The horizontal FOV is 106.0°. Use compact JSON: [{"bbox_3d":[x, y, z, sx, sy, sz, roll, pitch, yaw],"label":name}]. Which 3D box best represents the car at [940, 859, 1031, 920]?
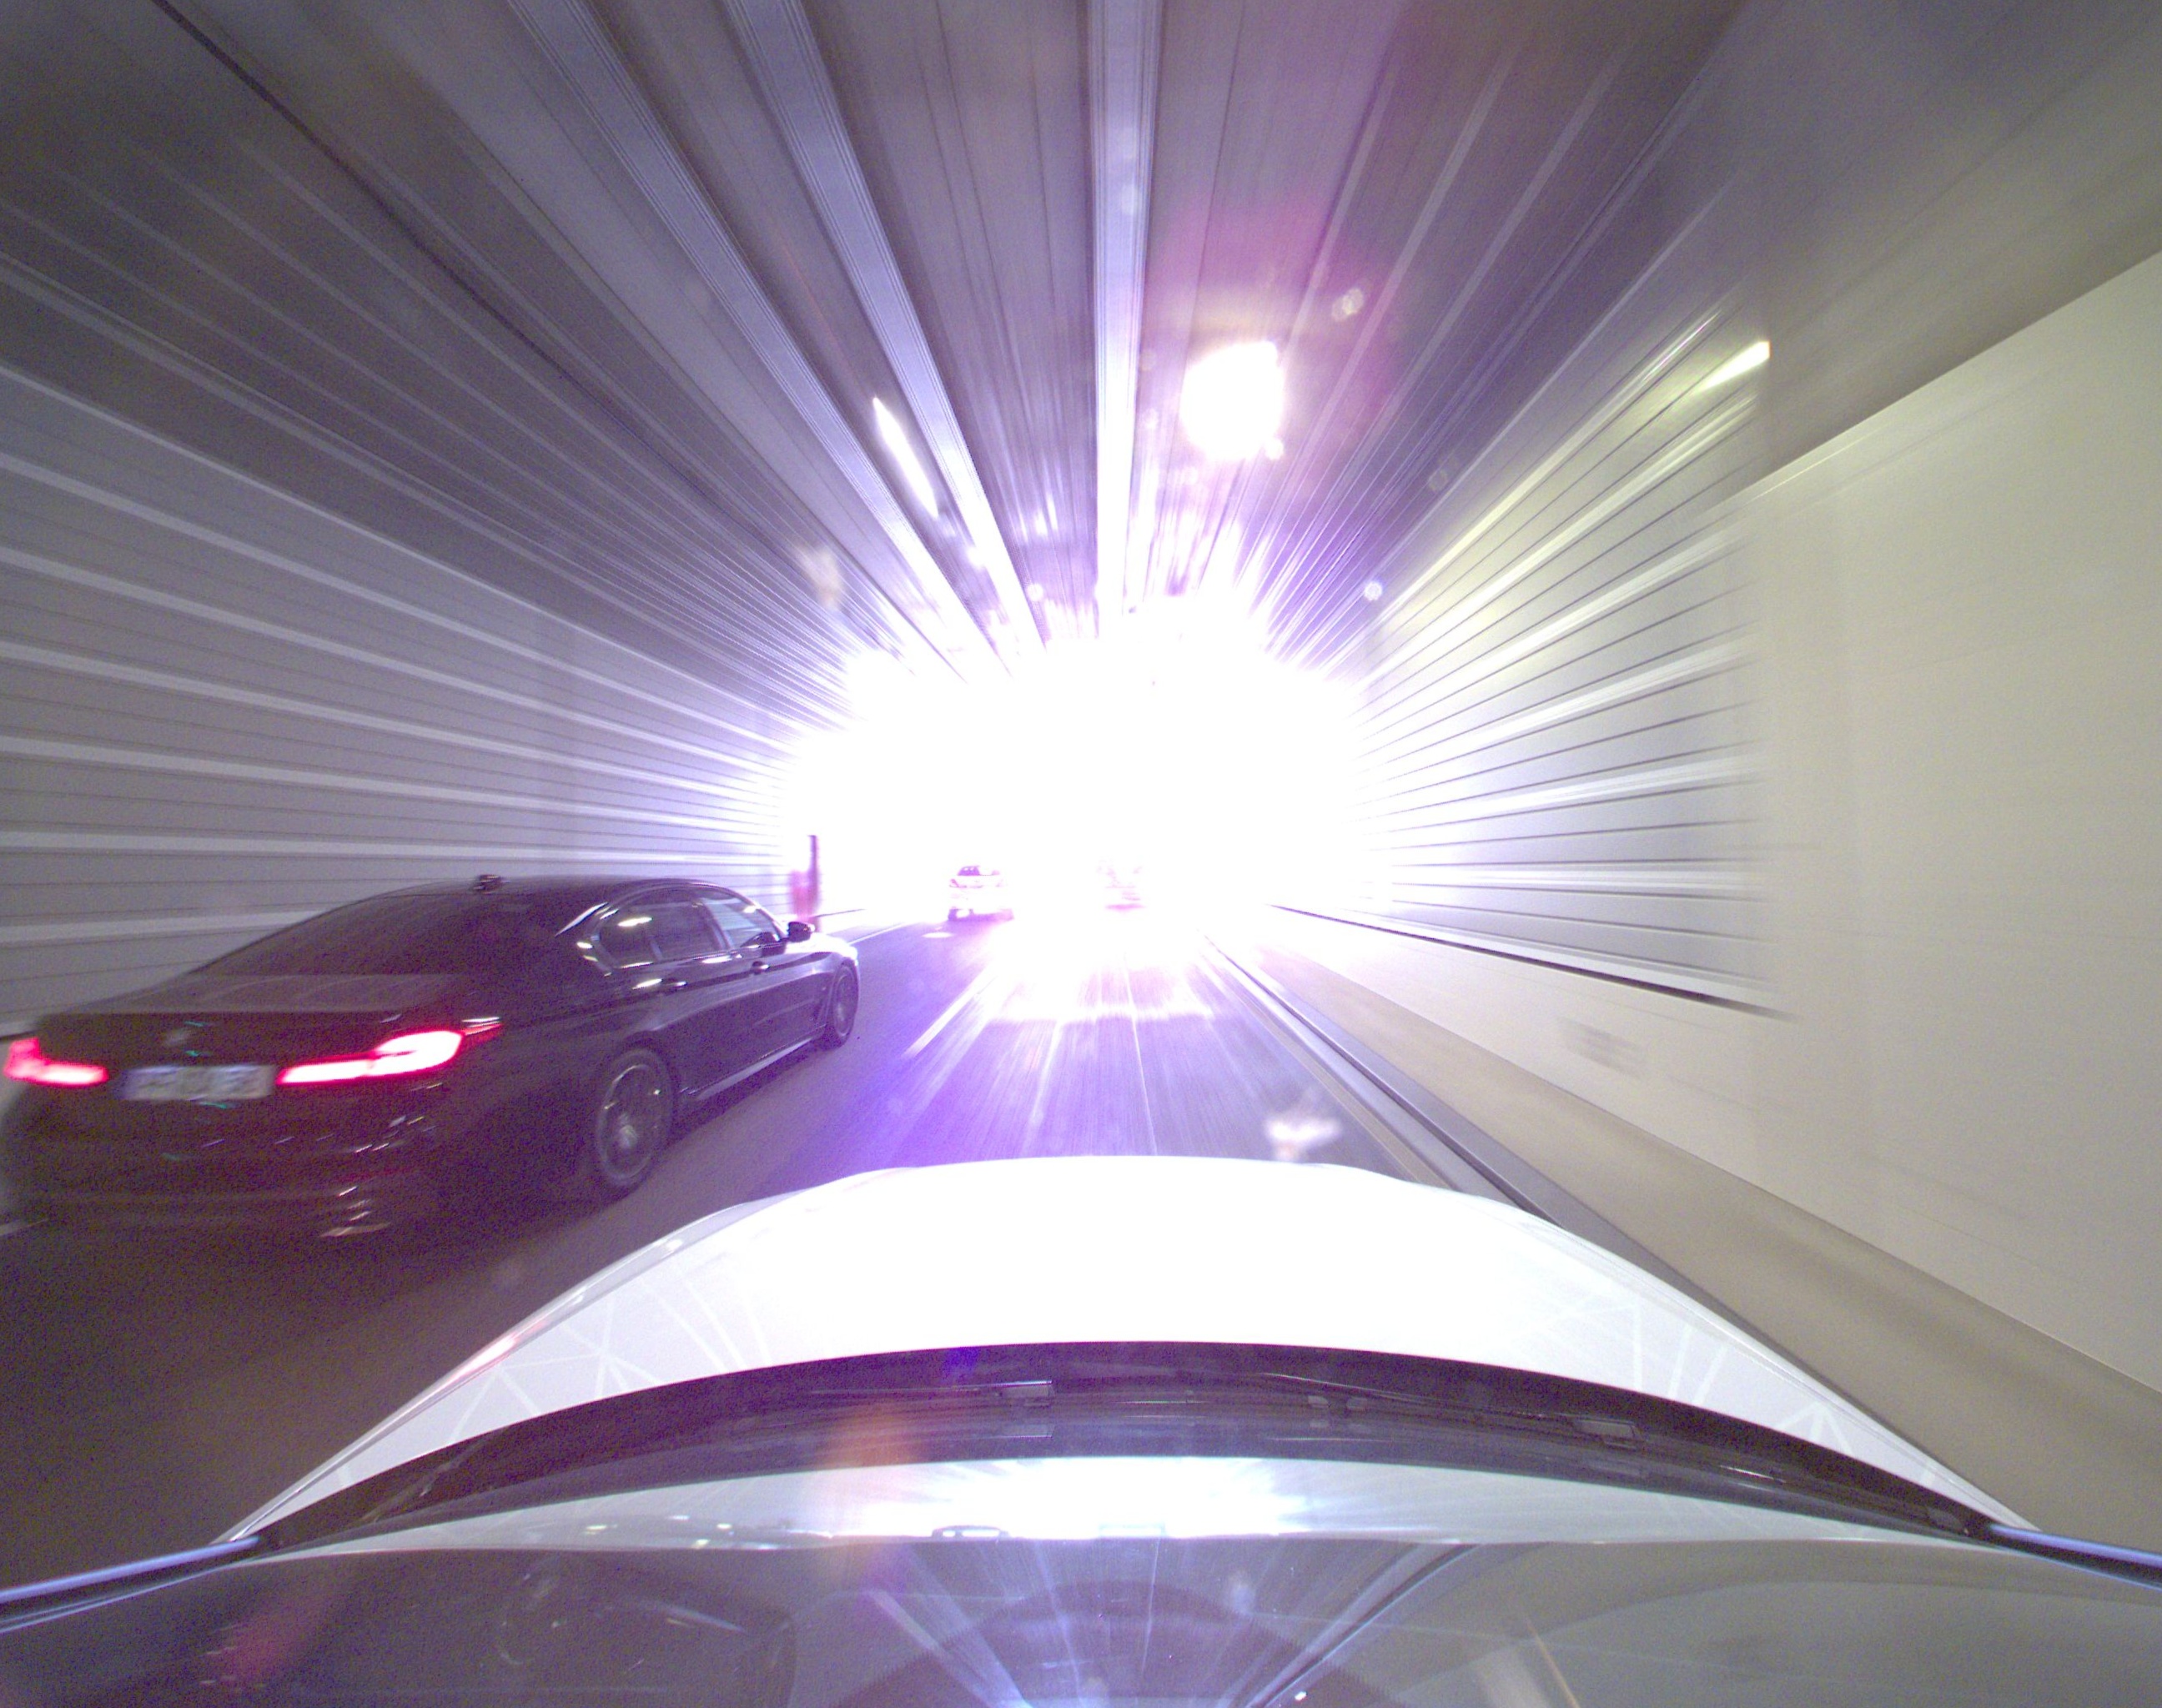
[{"bbox_3d":[-2.374,0.860,21.214,1.702,1.413,3.977,0,0,3],"label":"car"}]

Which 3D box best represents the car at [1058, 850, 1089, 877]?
[{"bbox_3d":[-0.436,0.604,50.605,1.870,1.582,4.219,0,-1,0],"label":"car"}]

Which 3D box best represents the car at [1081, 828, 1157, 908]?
[{"bbox_3d":[1.203,0.399,25.482,2.149,2.266,4.640,0,0,3],"label":"car"}]

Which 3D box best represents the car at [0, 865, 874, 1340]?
[{"bbox_3d":[-2.848,0.800,4.981,1.689,1.422,4.854,1,0,3],"label":"car"}]

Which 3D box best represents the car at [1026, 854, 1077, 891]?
[{"bbox_3d":[-1.207,0.749,35.649,1.807,1.512,4.224,0,0,3],"label":"car"}]
